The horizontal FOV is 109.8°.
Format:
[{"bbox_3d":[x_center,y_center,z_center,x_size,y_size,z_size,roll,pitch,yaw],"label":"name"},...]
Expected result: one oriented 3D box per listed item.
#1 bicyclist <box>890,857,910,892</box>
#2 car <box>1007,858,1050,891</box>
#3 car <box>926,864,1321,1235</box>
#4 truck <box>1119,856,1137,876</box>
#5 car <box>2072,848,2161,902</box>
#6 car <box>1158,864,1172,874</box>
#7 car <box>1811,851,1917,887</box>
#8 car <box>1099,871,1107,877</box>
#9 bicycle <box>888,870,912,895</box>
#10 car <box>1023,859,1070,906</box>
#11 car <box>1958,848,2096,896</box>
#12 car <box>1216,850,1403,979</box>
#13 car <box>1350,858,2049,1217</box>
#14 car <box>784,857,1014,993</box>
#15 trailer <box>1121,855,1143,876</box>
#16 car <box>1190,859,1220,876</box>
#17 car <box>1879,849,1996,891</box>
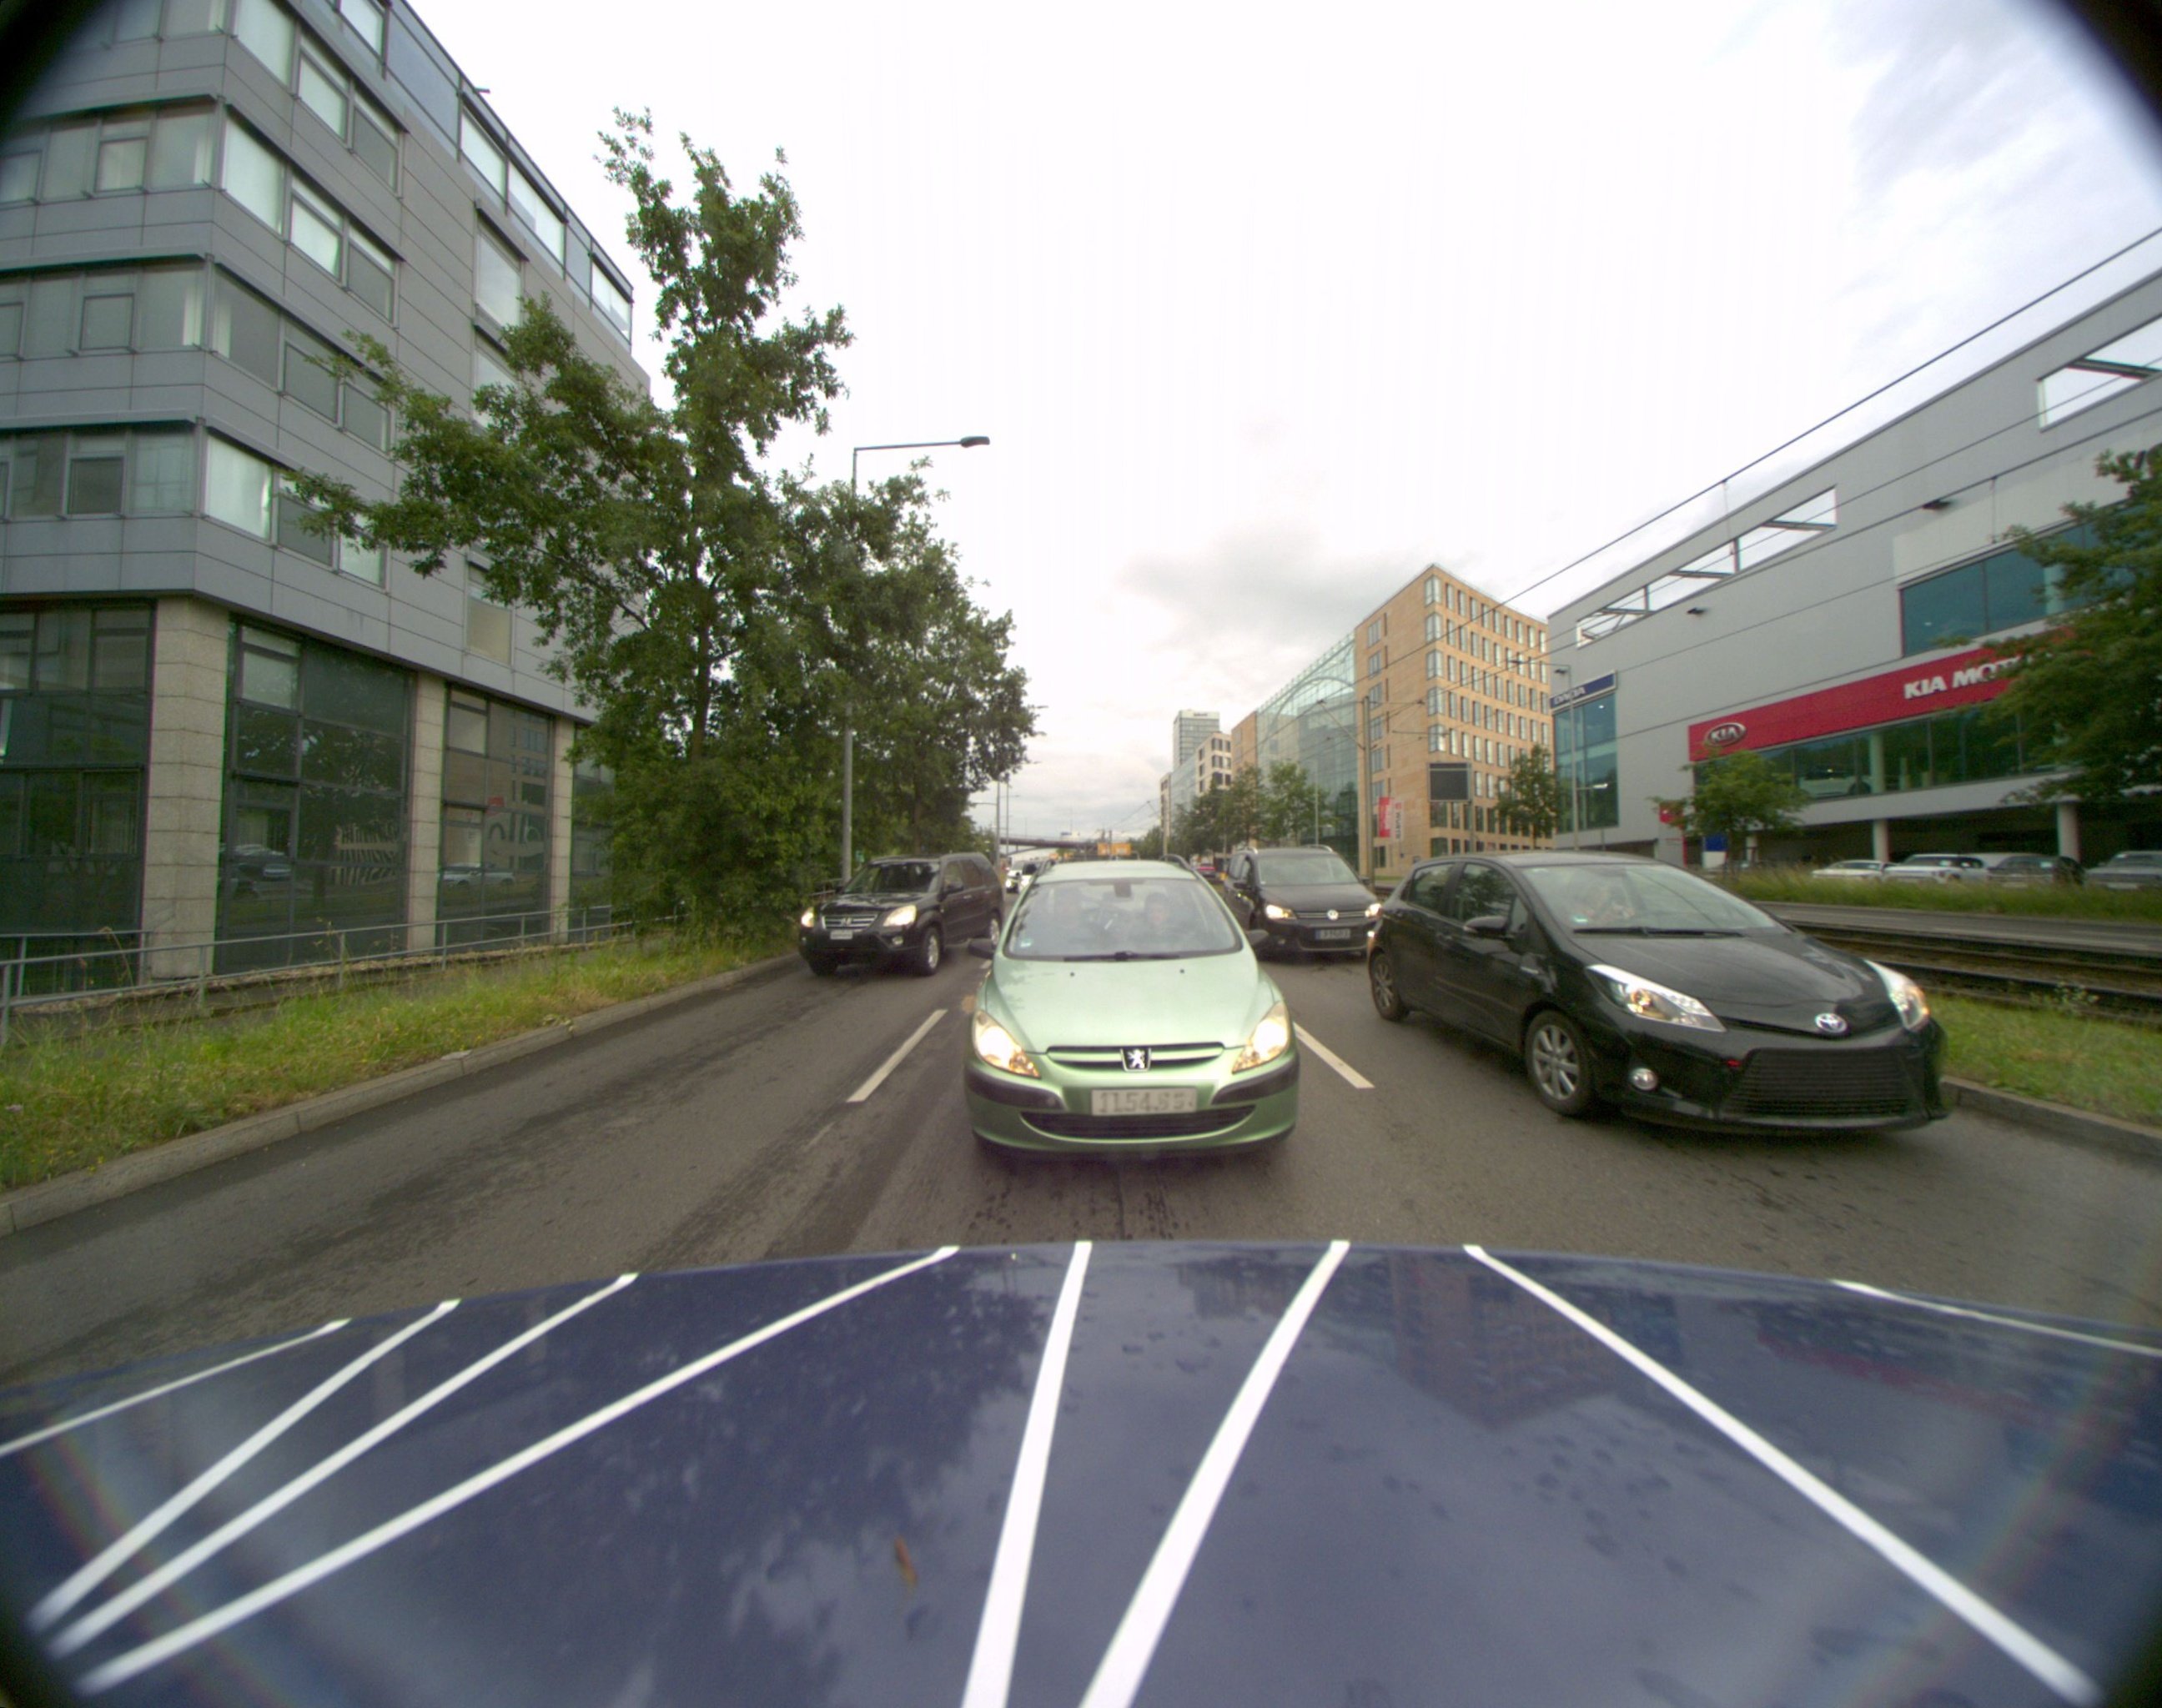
[{"bbox_3d":[-8.436,0.959,35.494,0.647,1.569,0.855,-2,0,1],"label":"bicyclist"},{"bbox_3d":[-2.482,0.952,36.851,1.828,1.495,3.766,-1,0,0],"label":"car"},{"bbox_3d":[0.171,0.891,5.526,1.704,1.523,4.370,-1,0,-1],"label":"car"},{"bbox_3d":[10.523,2.606,170.321,3.144,4.219,7.026,2,0,-3],"label":"truck"},{"bbox_3d":[32.019,0.597,22.868,3.528,1.344,1.696,-4,1,-20],"label":"car"},{"bbox_3d":[13.163,2.299,119.683,1.588,1.504,4.101,1,0,-2],"label":"car"},{"bbox_3d":[31.735,0.585,30.784,3.668,1.181,1.696,-4,1,-22],"label":"car"},{"bbox_3d":[5.450,4.955,188.936,1.655,1.428,3.877,-2,1,-6],"label":"car"},{"bbox_3d":[-8.443,1.306,35.499,0.582,1.082,1.906,-2,0,1],"label":"bicycle"},{"bbox_3d":[-1.254,0.961,26.814,1.518,1.495,3.167,-1,0,-4],"label":"car"},{"bbox_3d":[31.597,0.577,25.398,3.528,1.344,1.696,-4,1,-17],"label":"car"},{"bbox_3d":[3.306,0.772,11.879,1.786,1.597,4.318,-2,0,3],"label":"car"},{"bbox_3d":[3.426,0.819,5.275,1.704,1.523,3.826,-1,0,-1],"label":"car"},{"bbox_3d":[-2.503,0.904,11.724,1.757,1.649,4.342,-1,0,11],"label":"car"},{"bbox_3d":[10.868,2.431,162.967,3.143,4.304,13.277,2,0,-3],"label":"trailer"},{"bbox_3d":[12.767,1.355,78.610,1.999,1.709,4.839,1,0,-4],"label":"car"},{"bbox_3d":[31.758,0.570,28.179,3.668,1.287,1.696,-4,1,-22],"label":"car"}]
